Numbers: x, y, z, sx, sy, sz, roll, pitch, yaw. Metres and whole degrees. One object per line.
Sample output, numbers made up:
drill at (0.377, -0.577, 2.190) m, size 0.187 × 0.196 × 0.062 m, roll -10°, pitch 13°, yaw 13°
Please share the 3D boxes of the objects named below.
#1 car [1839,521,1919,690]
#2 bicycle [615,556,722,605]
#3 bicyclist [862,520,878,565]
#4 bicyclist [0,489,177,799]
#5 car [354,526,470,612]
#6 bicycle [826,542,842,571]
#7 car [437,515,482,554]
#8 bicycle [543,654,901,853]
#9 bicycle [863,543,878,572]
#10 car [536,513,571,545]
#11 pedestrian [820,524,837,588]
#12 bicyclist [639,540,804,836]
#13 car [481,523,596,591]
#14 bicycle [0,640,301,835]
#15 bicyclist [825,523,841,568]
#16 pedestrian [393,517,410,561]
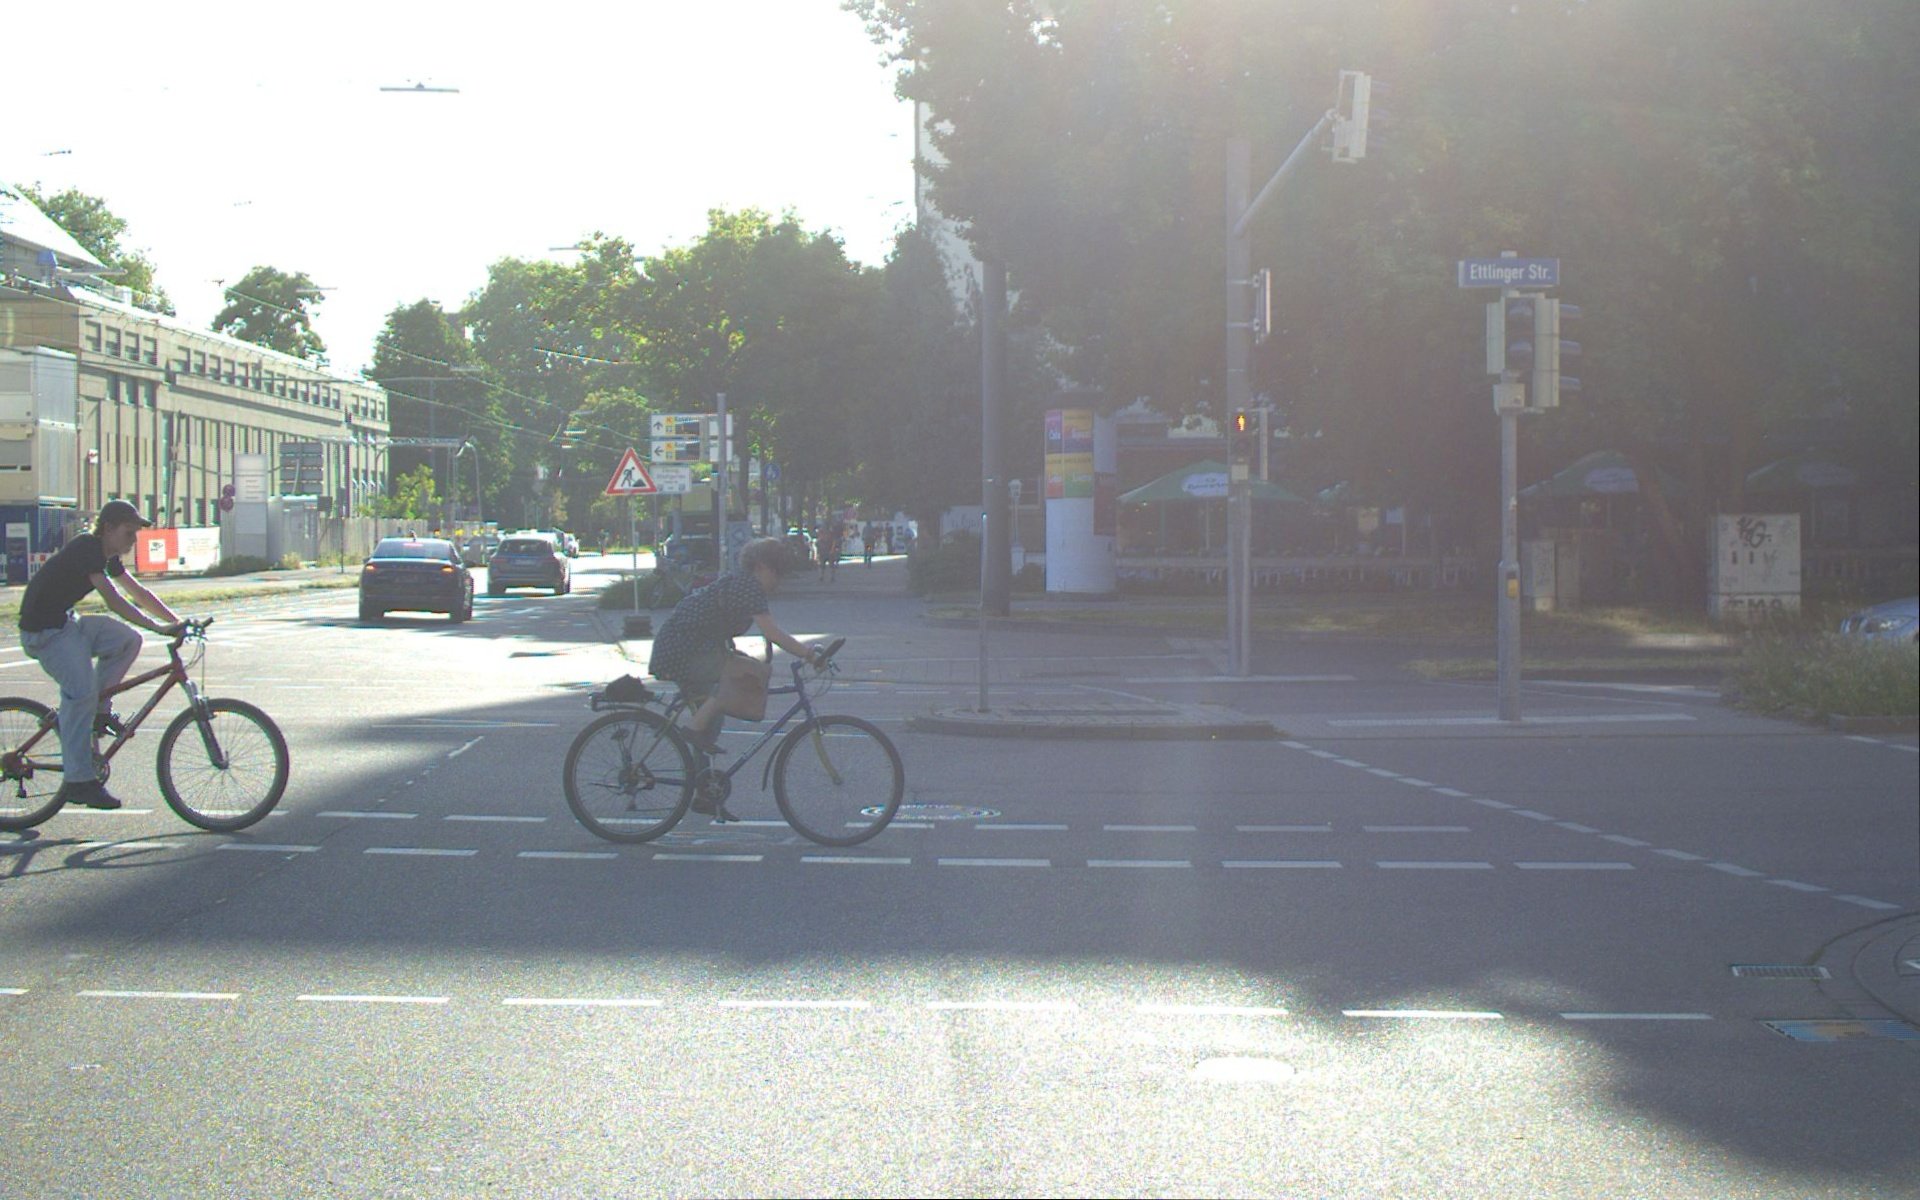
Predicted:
car at (10.760, 0.020, 33.410) m, size 3.993 × 1.605 × 1.650 m, roll -1°, pitch 1°, yaw -1°
bicycle at (-5.725, -0.382, 67.479) m, size 2.018 × 0.888 × 0.650 m, roll -2°, pitch 0°, yaw 27°
bicyclist at (-3.392, -2.176, 130.027) m, size 0.569 × 1.685 × 0.700 m, roll 0°, pitch 1°, yaw -1°
bicyclist at (-4.368, 0.212, 17.256) m, size 0.762 × 1.519 × 0.606 m, roll 0°, pitch 1°, yaw -5°
car at (-9.639, -0.569, 60.716) m, size 1.660 × 1.450 × 4.433 m, roll 1°, pitch 1°, yaw -4°
bicycle at (-4.765, -1.638, 129.763) m, size 0.575 × 1.073 × 1.831 m, roll 0°, pitch 1°, yaw -1°
car at (-22.772, -2.957, 156.444) m, size 1.692 × 1.712 × 4.248 m, roll 1°, pitch 1°, yaw -4°
bicycle at (-1.186, 0.752, 17.141) m, size 1.742 × 0.932 × 0.646 m, roll -1°, pitch 1°, yaw -5°
bicycle at (-3.380, -1.624, 130.020) m, size 0.575 × 1.073 × 1.831 m, roll 0°, pitch 1°, yaw -1°
car at (-23.011, -4.020, 194.689) m, size 1.692 × 1.712 × 4.248 m, roll 1°, pitch 1°, yaw -4°
pedestrian at (-3.744, -1.249, 97.802) m, size 0.463 × 1.807 × 0.503 m, roll -1°, pitch 1°, yaw -5°
bicyclist at (-1.185, 0.423, 17.128) m, size 0.798 × 1.446 × 0.617 m, roll 0°, pitch 1°, yaw -3°
car at (-10.327, -1.082, 84.577) m, size 1.892 × 1.560 × 4.807 m, roll 3°, pitch 1°, yaw 3°
bicycle at (-4.280, 0.681, 17.252) m, size 1.857 × 0.932 × 0.560 m, roll -1°, pitch 1°, yaw -5°
bicyclist at (-4.781, -2.057, 129.859) m, size 0.569 × 1.685 × 0.700 m, roll 0°, pitch 1°, yaw -1°
pedestrian at (-25.625, -2.811, 157.751) m, size 0.674 × 2.007 × 0.751 m, roll 1°, pitch 0°, yaw -3°
